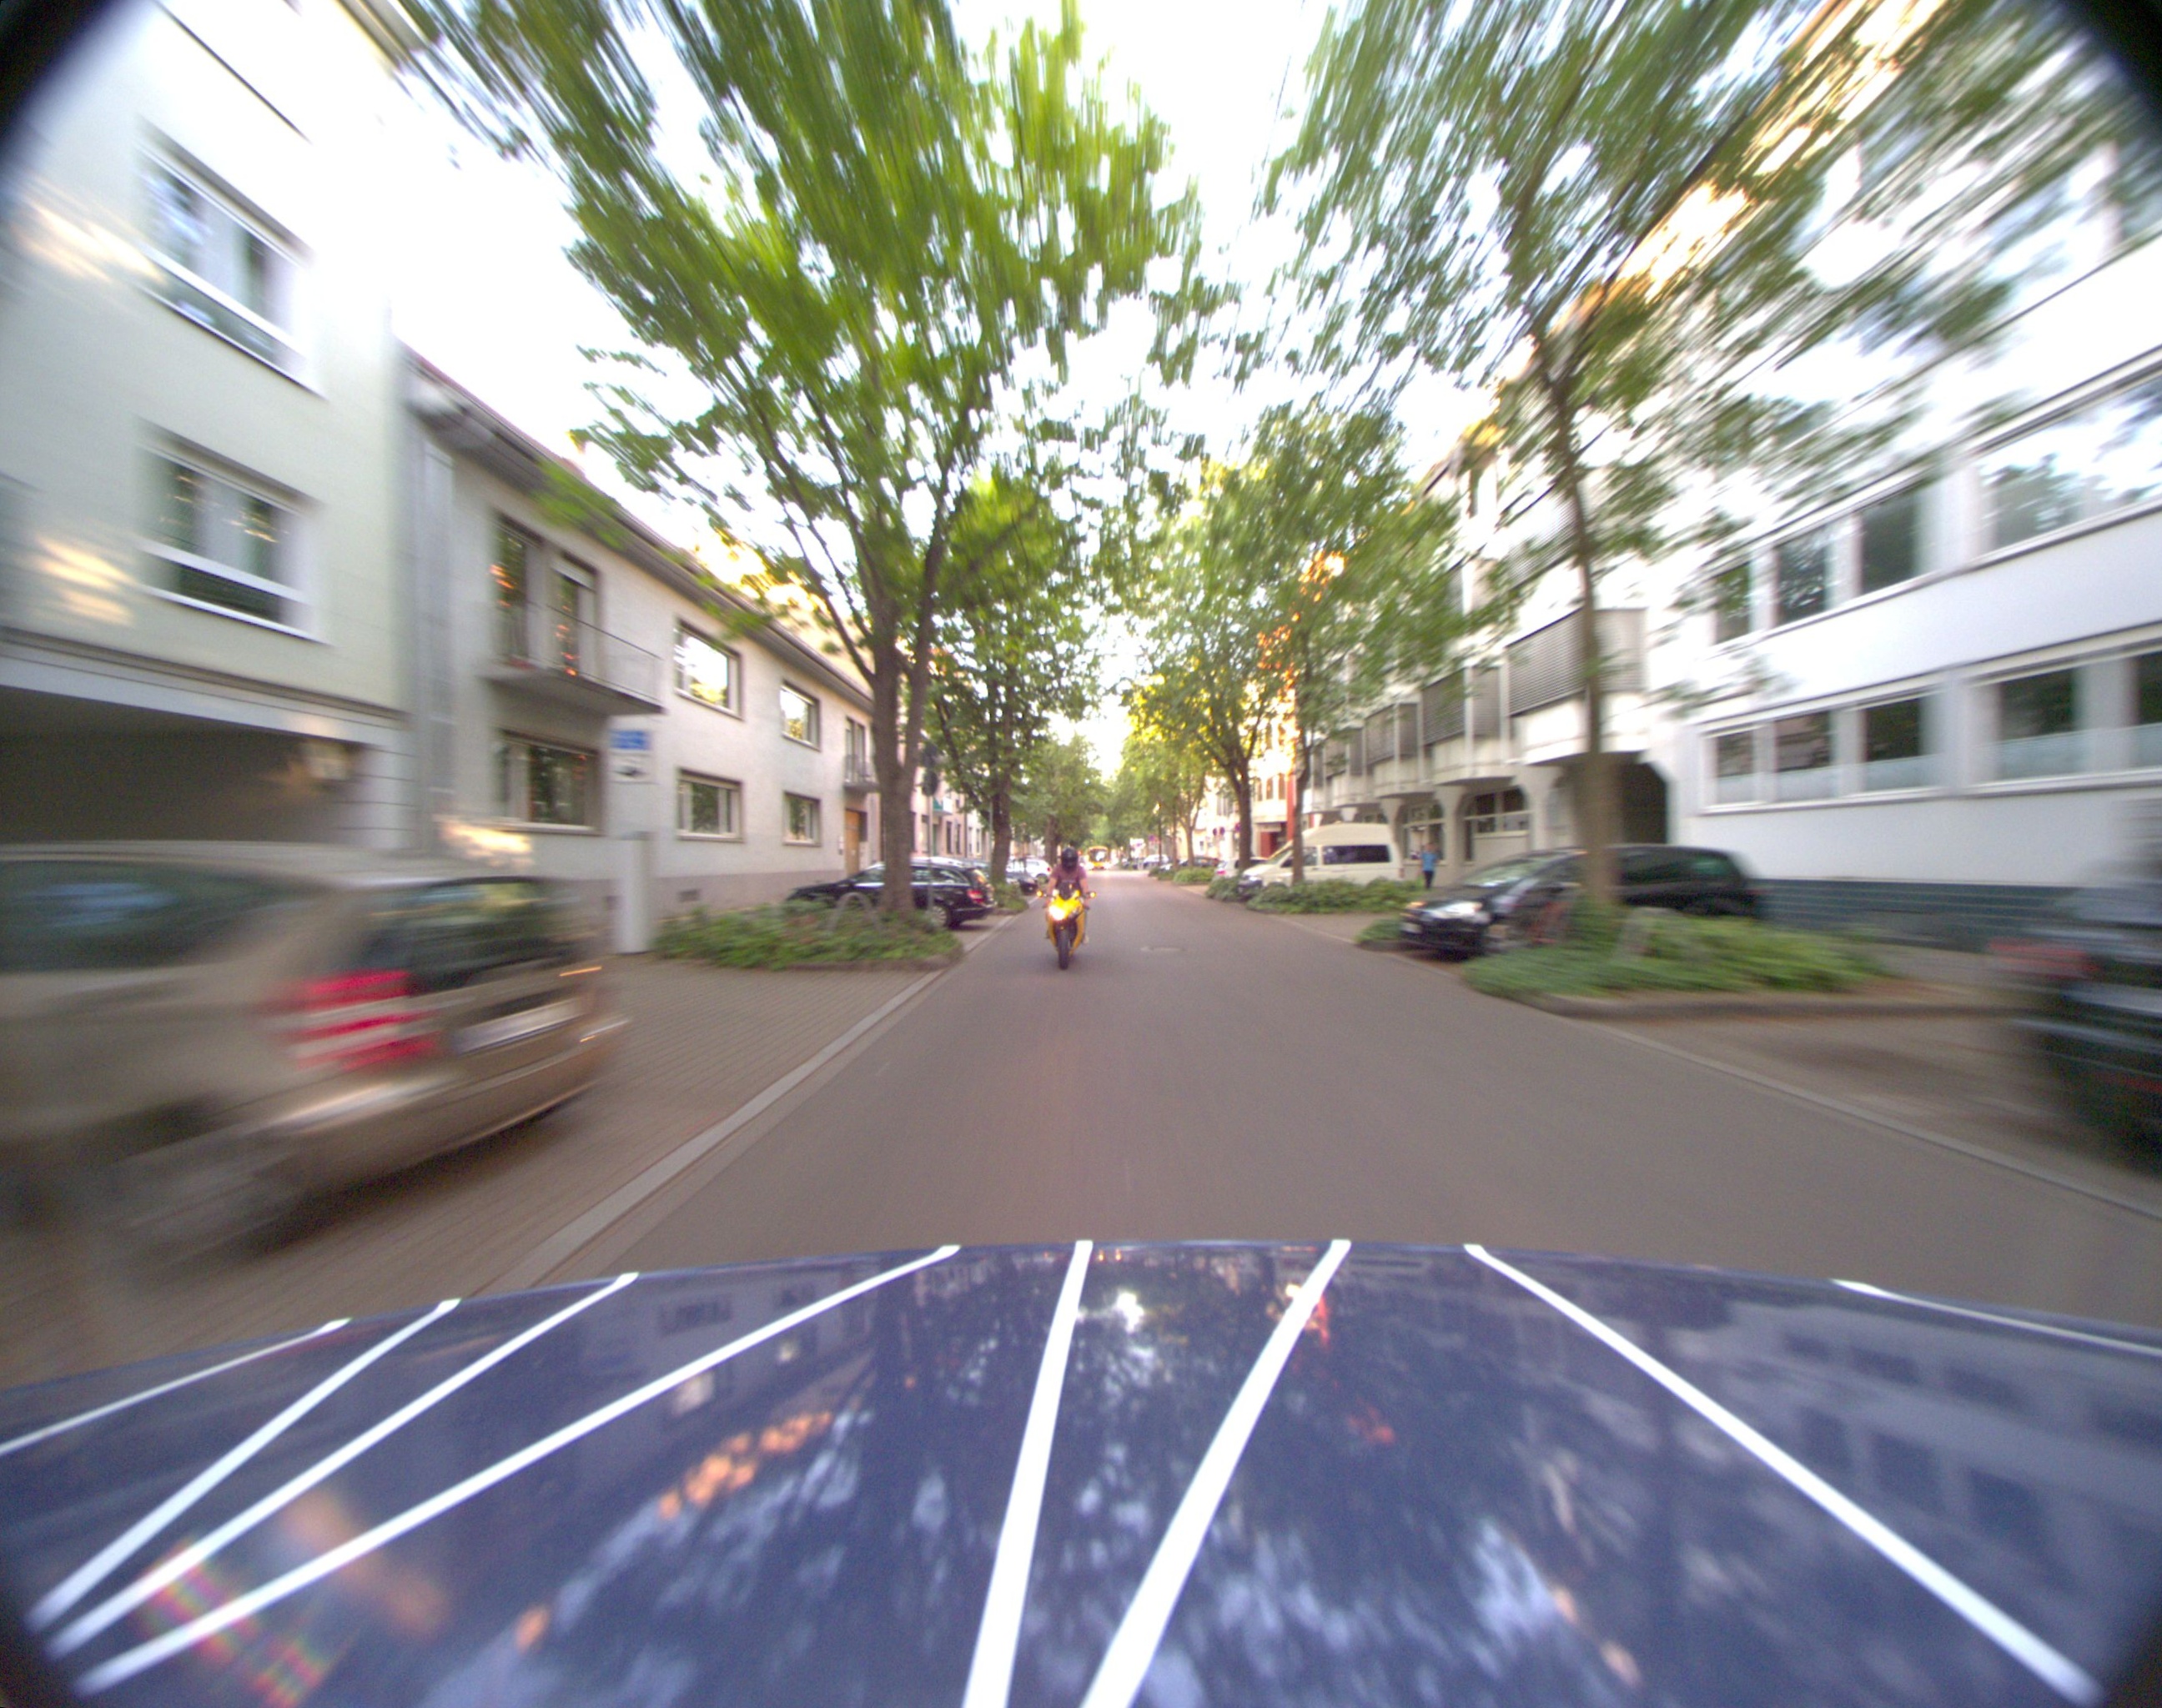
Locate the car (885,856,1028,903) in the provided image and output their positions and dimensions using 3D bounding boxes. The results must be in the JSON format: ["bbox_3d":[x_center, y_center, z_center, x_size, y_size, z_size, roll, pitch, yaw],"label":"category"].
[{"bbox_3d":[-4.141,0.831,25.712,4.456,1.515,1.952,0,0,2],"label":"car"}]

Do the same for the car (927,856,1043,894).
[{"bbox_3d":[-3.977,0.875,31.970,4.594,1.461,1.696,1,0,2],"label":"car"}]

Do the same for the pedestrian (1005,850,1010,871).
[{"bbox_3d":[-6.911,0.593,71.352,0.449,2.002,0.485,0,1,1],"label":"pedestrian"}]

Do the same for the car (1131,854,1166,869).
[{"bbox_3d":[7.745,0.817,87.357,3.858,1.623,1.675,1,0,1],"label":"car"}]

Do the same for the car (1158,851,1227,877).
[{"bbox_3d":[7.674,0.681,52.486,4.475,1.748,1.791,0,0,-2],"label":"car"}]

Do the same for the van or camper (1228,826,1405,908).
[{"bbox_3d":[7.120,0.387,23.336,4.829,2.413,1.945,0,0,1],"label":"van or camper"}]

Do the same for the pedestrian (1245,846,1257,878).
[{"bbox_3d":[9.399,0.444,42.038,0.637,1.734,0.679,-1,1,10],"label":"pedestrian"}]

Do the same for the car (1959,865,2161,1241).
[{"bbox_3d":[6.613,0.829,3.110,3.997,1.579,1.828,-1,0,-1],"label":"car"}]

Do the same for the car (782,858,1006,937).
[{"bbox_3d":[-3.999,0.898,16.631,4.366,1.461,1.732,2,0,6],"label":"car"}]

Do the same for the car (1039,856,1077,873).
[{"bbox_3d":[-2.471,1.099,81.651,3.998,1.752,2.000,0,0,-2],"label":"car"}]

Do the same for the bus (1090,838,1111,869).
[{"bbox_3d":[2.628,-0.068,103.258,2.833,4.085,7.832,0,0,1],"label":"bus"}]

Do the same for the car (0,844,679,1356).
[{"bbox_3d":[-4.355,0.826,3.566,3.872,1.657,1.926,2,0,1],"label":"car"}]

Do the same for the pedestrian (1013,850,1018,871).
[{"bbox_3d":[-6.152,0.633,71.568,0.449,2.002,0.485,0,1,1],"label":"pedestrian"}]

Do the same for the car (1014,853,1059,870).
[{"bbox_3d":[-3.901,0.675,67.498,3.858,1.390,1.675,1,0,1],"label":"car"}]

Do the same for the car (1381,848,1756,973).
[{"bbox_3d":[7.006,0.763,11.184,4.548,1.673,1.621,0,0,-3],"label":"car"}]

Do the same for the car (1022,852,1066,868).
[{"bbox_3d":[-3.336,0.520,69.572,3.858,1.390,1.675,1,0,1],"label":"car"}]

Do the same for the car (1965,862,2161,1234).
[{"bbox_3d":[6.666,0.813,3.104,3.997,1.582,1.789,-1,0,0],"label":"car"}]

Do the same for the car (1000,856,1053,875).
[{"bbox_3d":[-4.156,0.848,58.365,3.858,1.390,1.675,1,0,1],"label":"car"}]

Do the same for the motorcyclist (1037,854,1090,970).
[{"bbox_3d":[-0.256,0.813,11.115,0.722,1.605,0.915,-1,1,-2],"label":"motorcyclist"}]

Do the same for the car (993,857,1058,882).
[{"bbox_3d":[-3.315,0.911,45.862,3.859,1.390,1.674,1,0,-3],"label":"car"}]

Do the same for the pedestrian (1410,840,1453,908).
[{"bbox_3d":[10.556,0.594,22.890,0.942,2.002,0.839,-1,1,5],"label":"pedestrian"}]

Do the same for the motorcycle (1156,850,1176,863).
[{"bbox_3d":[7.618,0.223,68.099,1.626,1.136,0.572,-3,1,3],"label":"motorcycle"}]

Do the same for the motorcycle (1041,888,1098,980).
[{"bbox_3d":[-0.177,1.111,11.130,0.736,1.115,2.108,-1,0,-2],"label":"motorcycle"}]

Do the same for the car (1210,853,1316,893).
[{"bbox_3d":[7.495,0.778,31.523,4.062,1.519,1.622,-1,0,4],"label":"car"}]

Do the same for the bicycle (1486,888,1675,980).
[{"bbox_3d":[5.827,0.929,8.911,1.906,1.019,0.479,0,1,-1],"label":"bicycle"}]
